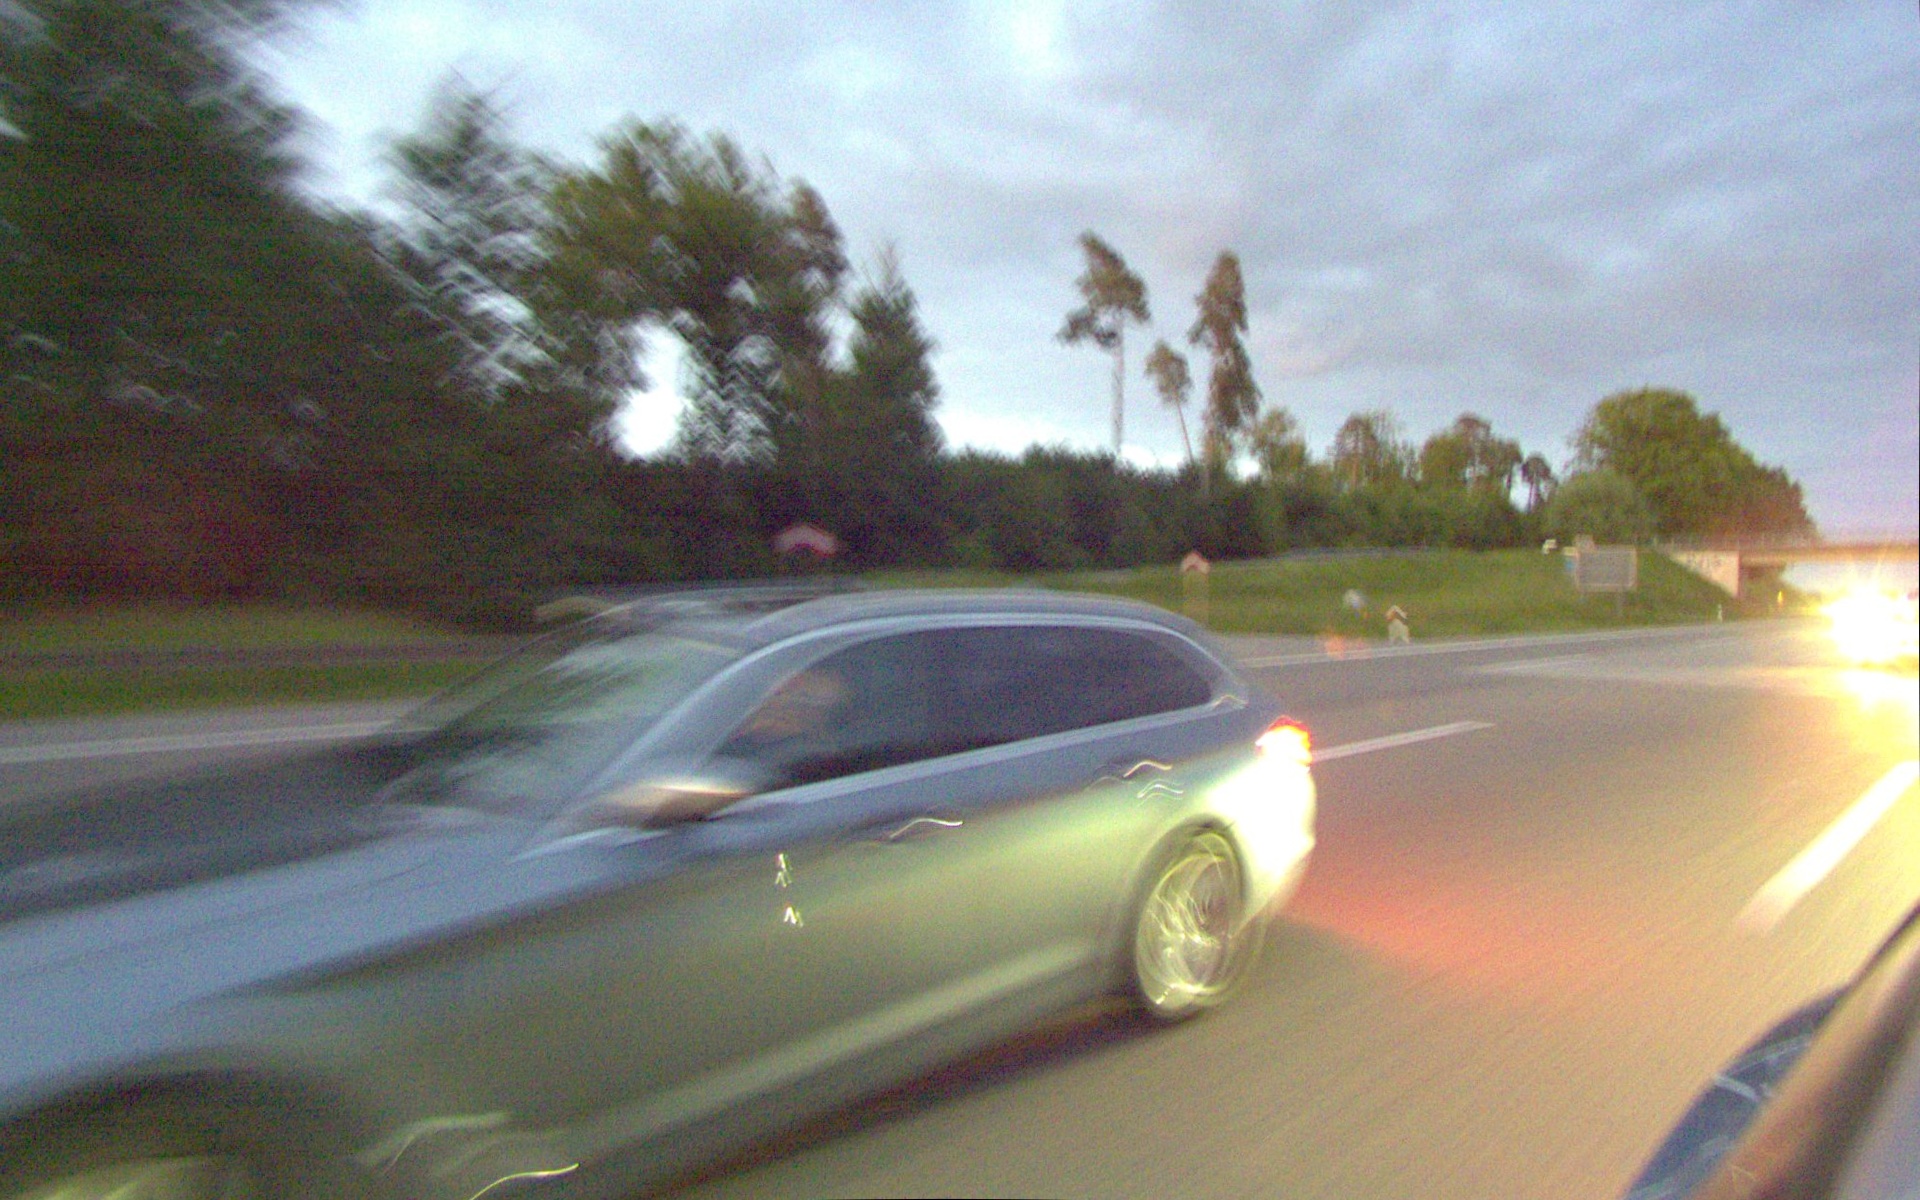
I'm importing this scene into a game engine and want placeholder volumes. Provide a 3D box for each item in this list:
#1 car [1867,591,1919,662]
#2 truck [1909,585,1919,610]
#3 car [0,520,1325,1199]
[{"bbox_3d":[21.895,0.569,22.708,5.044,1.484,1.811,0,0,-42],"label":"car"},{"bbox_3d":[162.281,-0.355,170.414,3.134,4.062,10.387,0,0,41],"label":"truck"},{"bbox_3d":[-1.106,0.669,2.977,5.141,1.557,1.912,1,0,-42],"label":"car"}]
